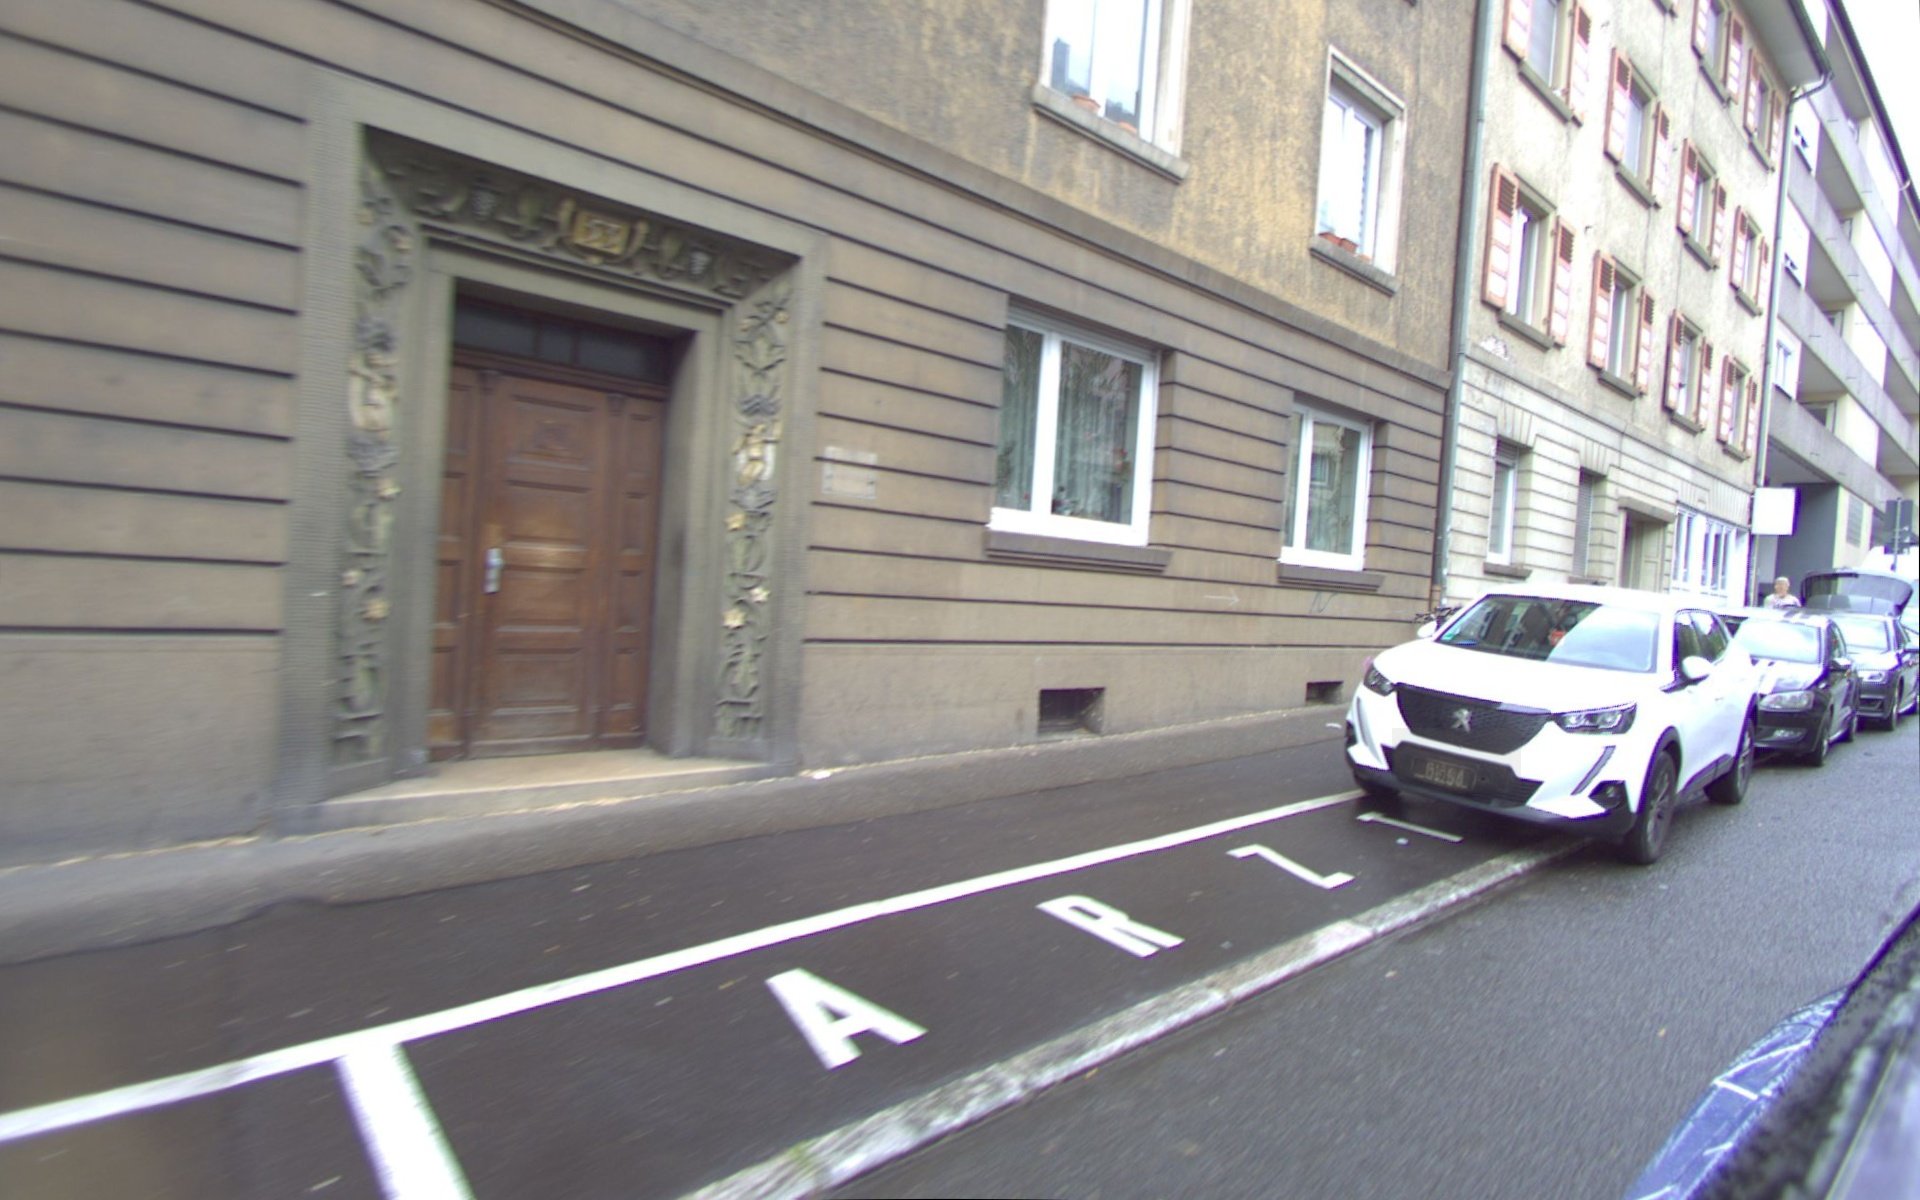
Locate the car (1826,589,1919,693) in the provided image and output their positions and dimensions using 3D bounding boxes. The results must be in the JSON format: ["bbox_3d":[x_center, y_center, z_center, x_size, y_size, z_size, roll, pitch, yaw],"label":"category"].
[{"bbox_3d":[16.002,0.625,17.001,4.121,1.497,1.780,-1,4,-44],"label":"car"}]

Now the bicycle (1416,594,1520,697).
[{"bbox_3d":[6.025,0.499,11.946,2.069,1.086,0.248,-1,6,-41],"label":"bicycle"}]

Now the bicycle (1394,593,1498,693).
[{"bbox_3d":[5.846,0.477,12.119,2.069,1.086,0.248,-1,6,-41],"label":"bicycle"}]

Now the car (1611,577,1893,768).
[{"bbox_3d":[8.342,0.601,10.549,3.672,1.495,1.635,-1,7,-43],"label":"car"}]

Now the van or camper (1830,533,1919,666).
[{"bbox_3d":[22.235,0.004,22.936,6.297,2.732,2.193,1,3,-35],"label":"van or camper"}]

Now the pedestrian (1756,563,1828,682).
[{"bbox_3d":[13.347,0.333,16.256,0.683,1.808,0.705,5,5,34],"label":"pedestrian"}]

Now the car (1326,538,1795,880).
[{"bbox_3d":[4.419,0.511,7.156,4.124,1.657,1.635,-1,6,-43],"label":"car"}]

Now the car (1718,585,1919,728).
[{"bbox_3d":[11.889,0.610,13.603,4.509,1.497,1.781,-1,4,-41],"label":"car"}]

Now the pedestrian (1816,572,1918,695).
[{"bbox_3d":[13.721,0.496,15.332,0.623,1.709,0.633,5,8,-2],"label":"pedestrian"}]
